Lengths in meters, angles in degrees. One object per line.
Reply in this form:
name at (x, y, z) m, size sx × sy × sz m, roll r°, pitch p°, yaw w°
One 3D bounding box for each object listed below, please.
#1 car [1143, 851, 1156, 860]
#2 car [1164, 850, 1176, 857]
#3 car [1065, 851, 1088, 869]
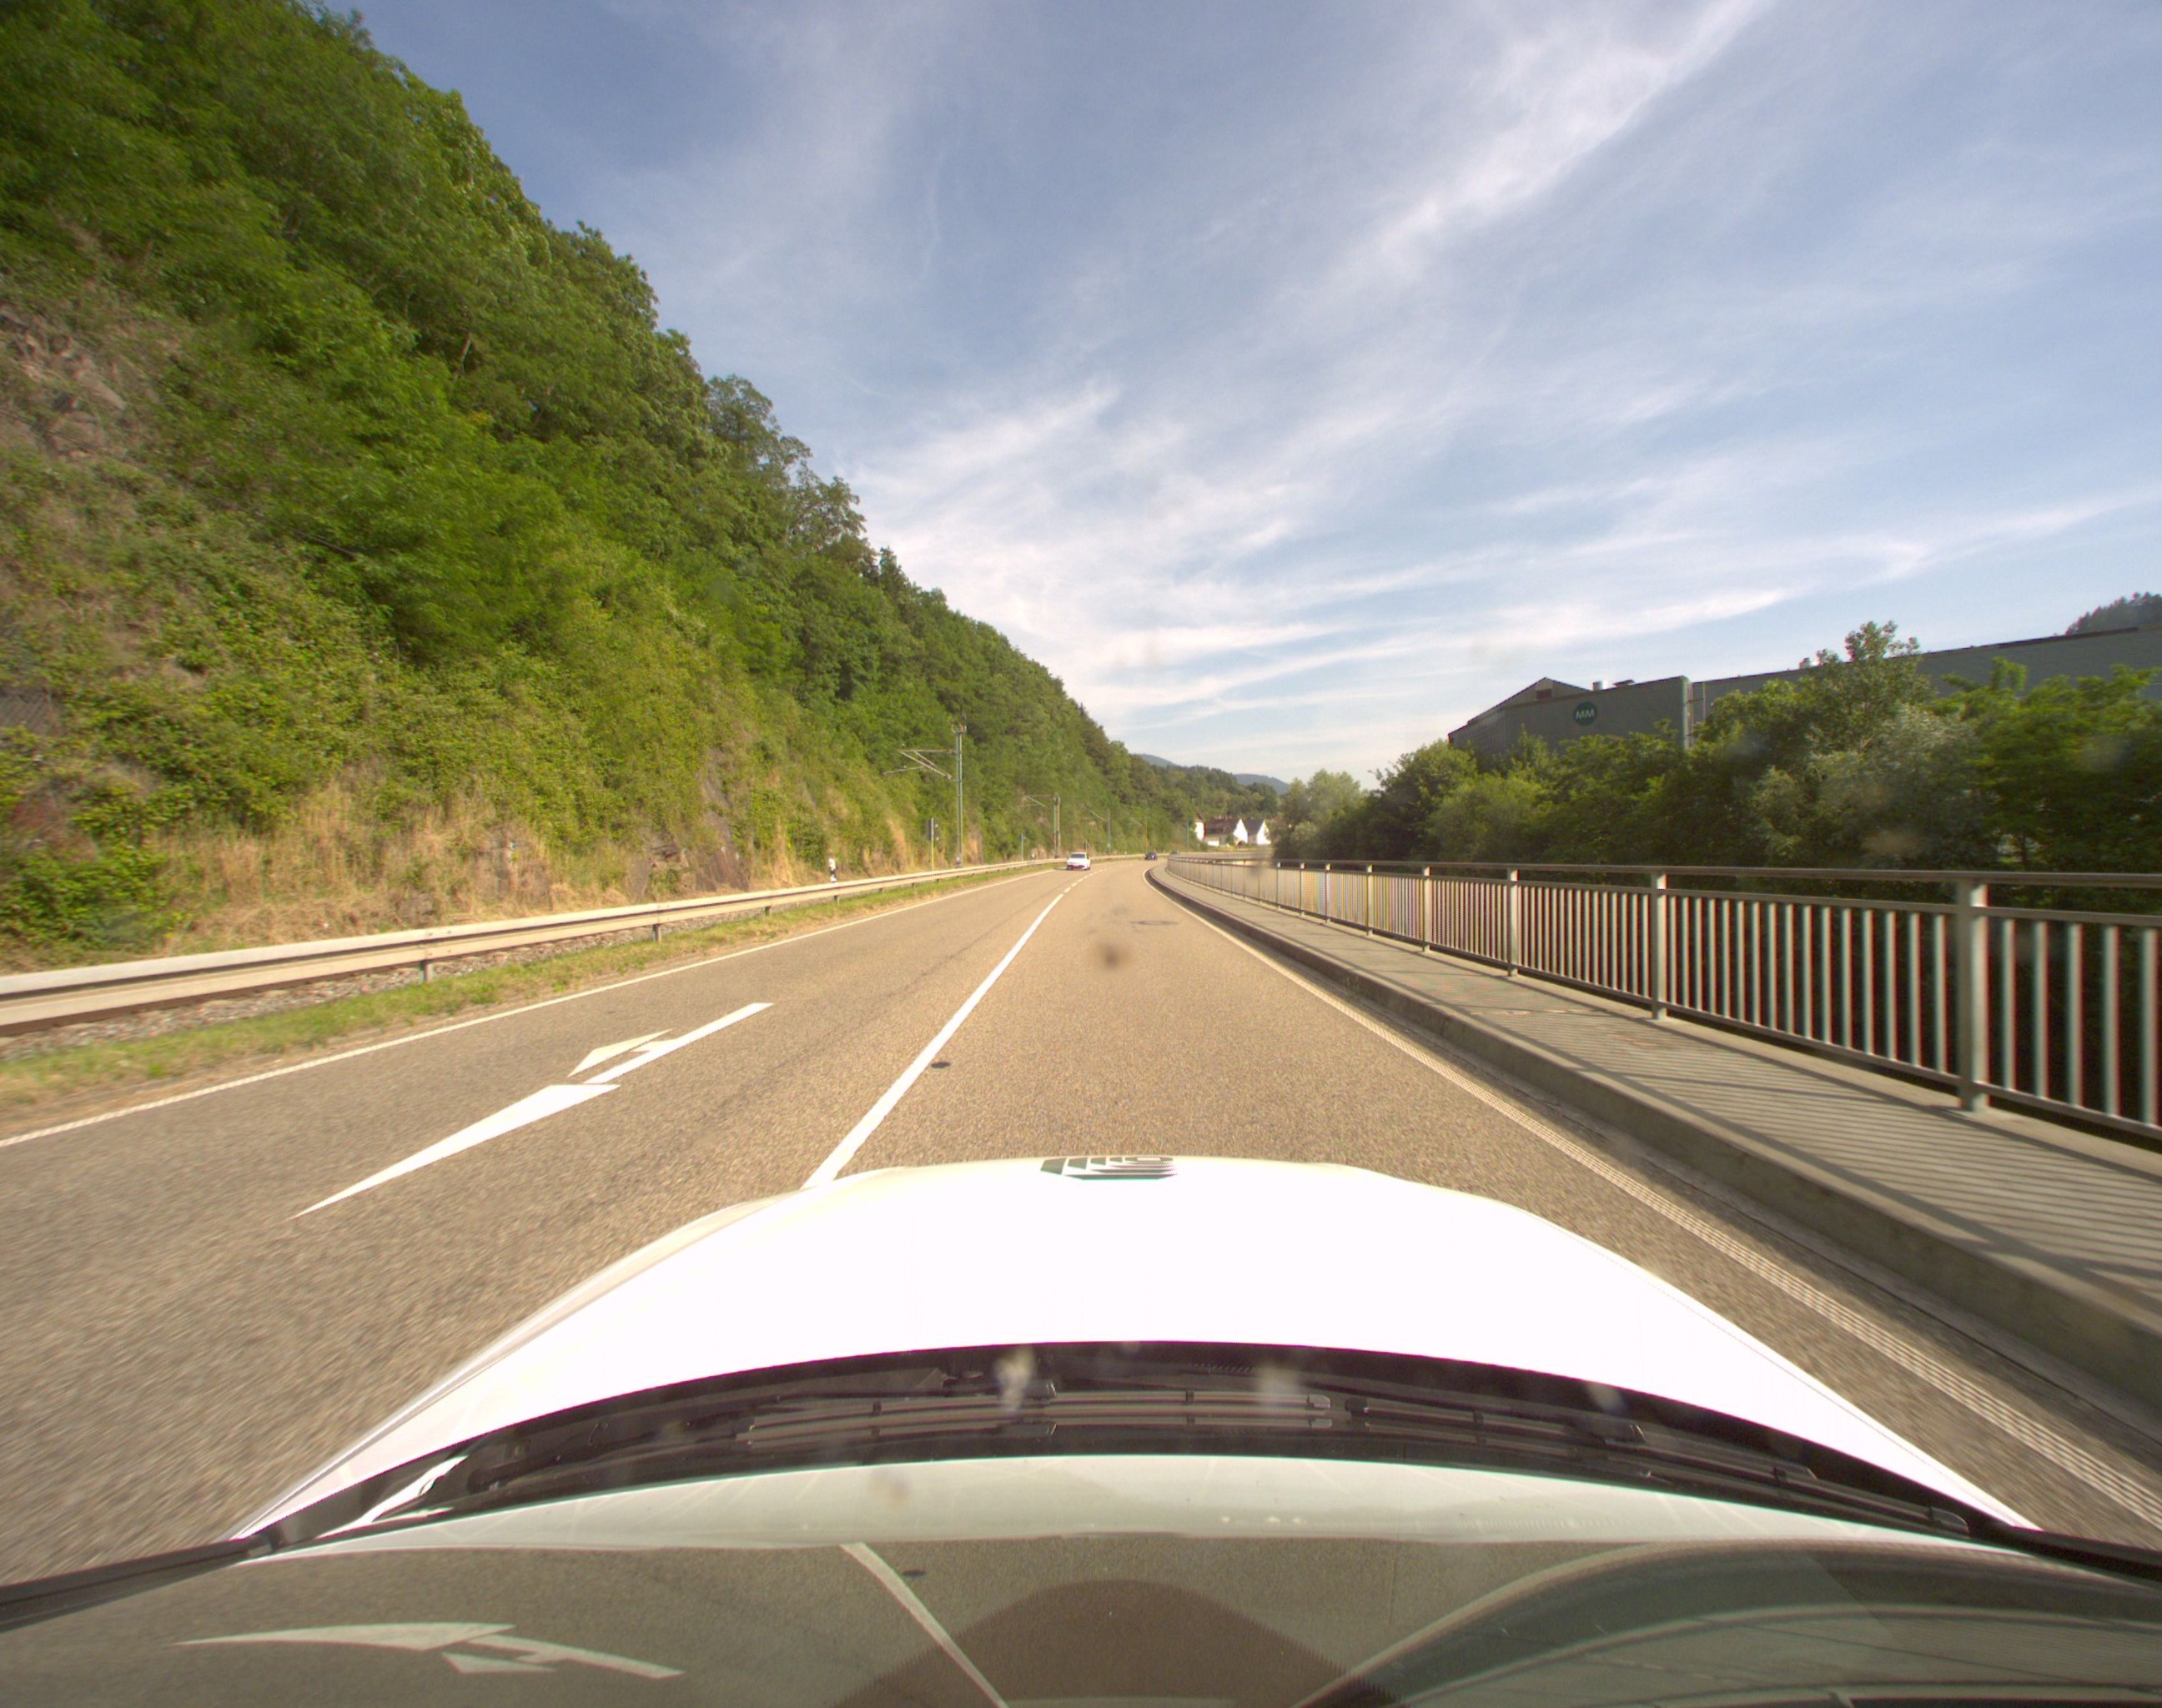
car at (11.952, 0.258, 142.633) m, size 1.836 × 1.440 × 3.908 m, roll -1°, pitch 0°, yaw 10°
car at (18.154, -0.027, 165.408) m, size 1.834 × 1.402 × 4.494 m, roll 0°, pitch 0°, yaw 14°
car at (-0.385, 0.489, 71.187) m, size 1.840 × 1.544 × 4.606 m, roll -1°, pitch 0°, yaw 2°
